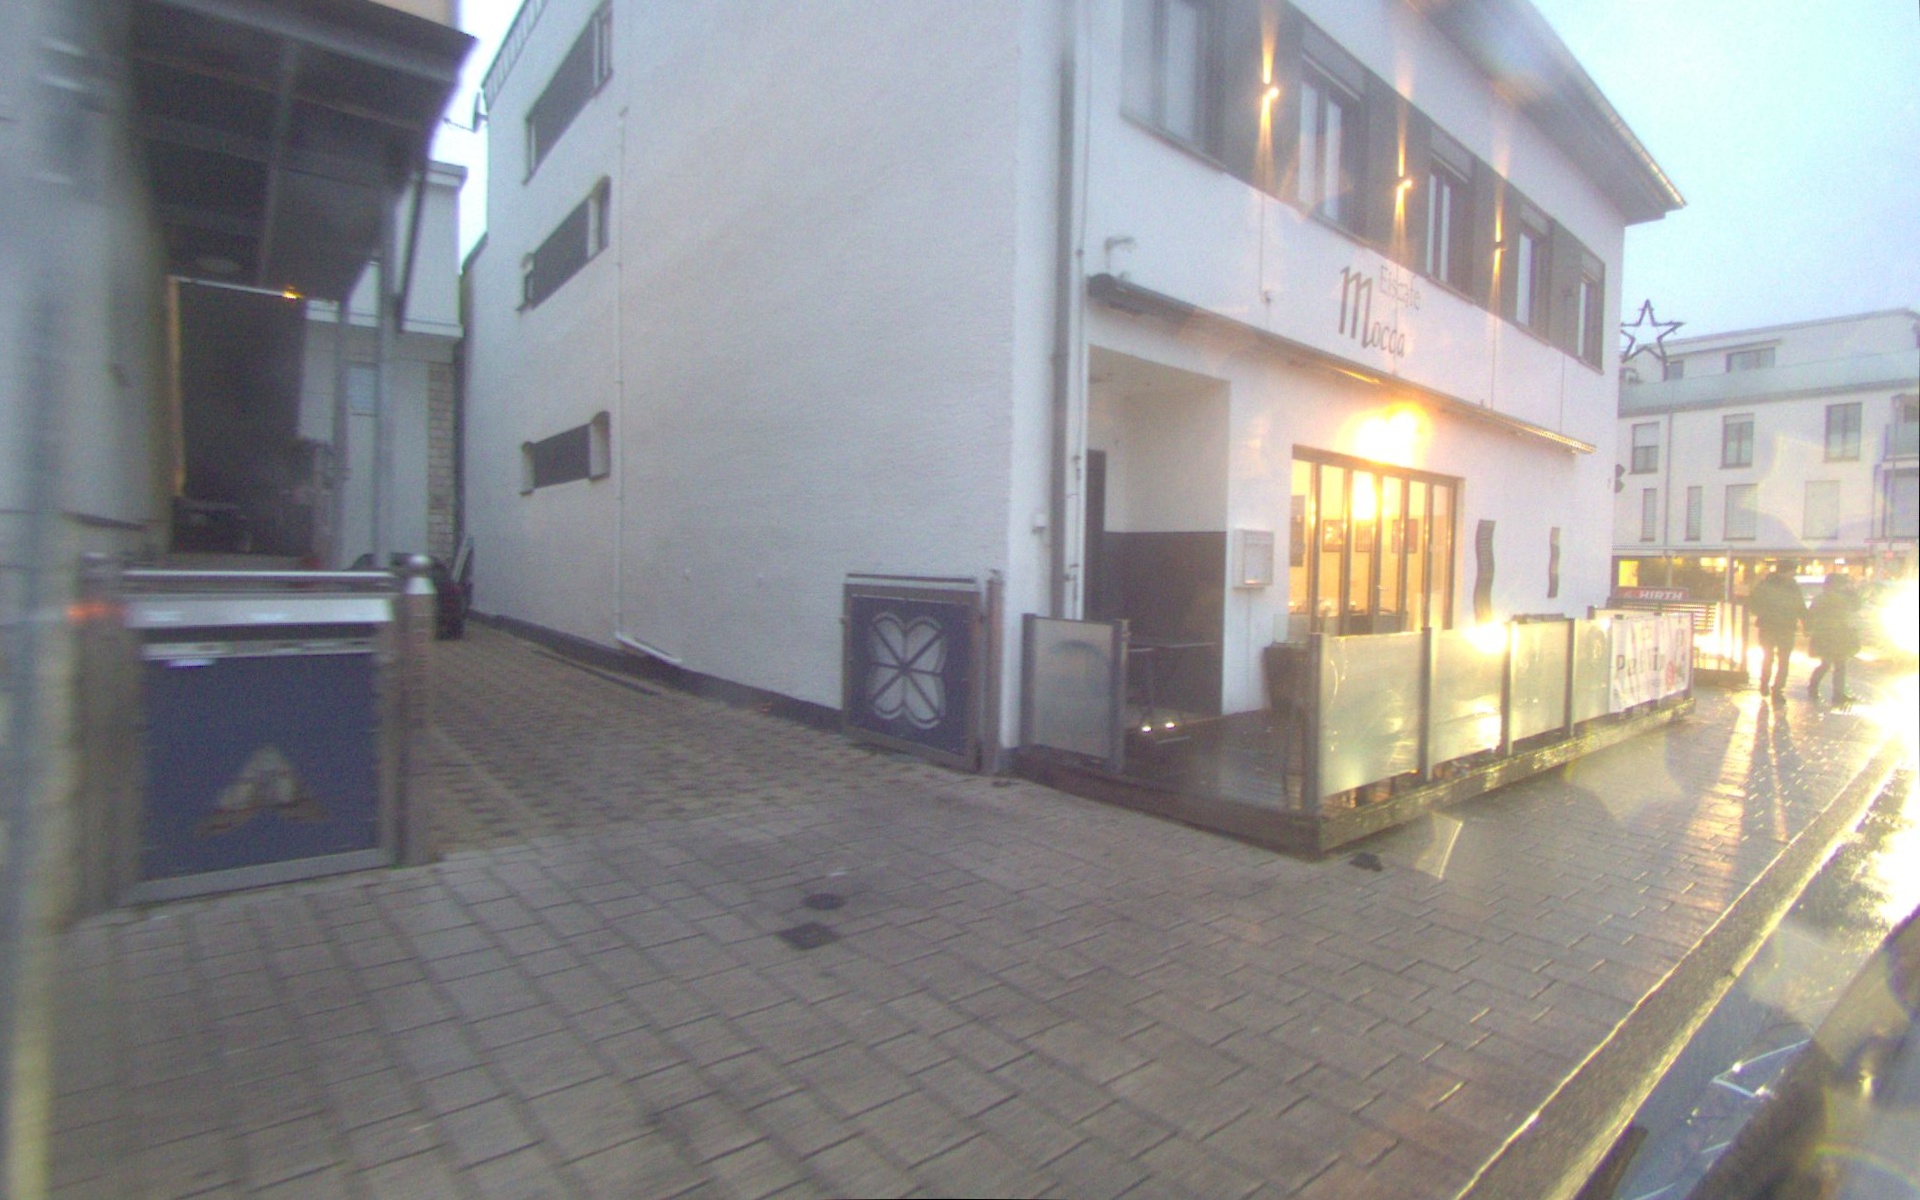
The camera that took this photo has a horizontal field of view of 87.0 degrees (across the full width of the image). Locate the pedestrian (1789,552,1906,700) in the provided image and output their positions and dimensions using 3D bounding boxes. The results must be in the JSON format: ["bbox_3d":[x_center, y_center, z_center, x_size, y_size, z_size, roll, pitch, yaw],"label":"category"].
[{"bbox_3d":[11.113,0.302,12.694,0.754,1.783,0.791,-1,1,3],"label":"pedestrian"}]

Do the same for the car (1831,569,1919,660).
[{"bbox_3d":[18.200,0.209,18.662,2.007,1.497,4.522,-1,2,24],"label":"car"}]

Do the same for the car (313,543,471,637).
[{"bbox_3d":[-10.386,-0.221,18.362,1.901,1.433,3.962,2,2,-38],"label":"car"}]

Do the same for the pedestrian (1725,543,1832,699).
[{"bbox_3d":[10.308,0.246,12.772,0.696,1.889,0.791,-1,1,3],"label":"pedestrian"}]

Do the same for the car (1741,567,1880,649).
[{"bbox_3d":[20.953,0.132,24.902,3.928,1.767,1.825,-3,2,-38],"label":"car"}]
